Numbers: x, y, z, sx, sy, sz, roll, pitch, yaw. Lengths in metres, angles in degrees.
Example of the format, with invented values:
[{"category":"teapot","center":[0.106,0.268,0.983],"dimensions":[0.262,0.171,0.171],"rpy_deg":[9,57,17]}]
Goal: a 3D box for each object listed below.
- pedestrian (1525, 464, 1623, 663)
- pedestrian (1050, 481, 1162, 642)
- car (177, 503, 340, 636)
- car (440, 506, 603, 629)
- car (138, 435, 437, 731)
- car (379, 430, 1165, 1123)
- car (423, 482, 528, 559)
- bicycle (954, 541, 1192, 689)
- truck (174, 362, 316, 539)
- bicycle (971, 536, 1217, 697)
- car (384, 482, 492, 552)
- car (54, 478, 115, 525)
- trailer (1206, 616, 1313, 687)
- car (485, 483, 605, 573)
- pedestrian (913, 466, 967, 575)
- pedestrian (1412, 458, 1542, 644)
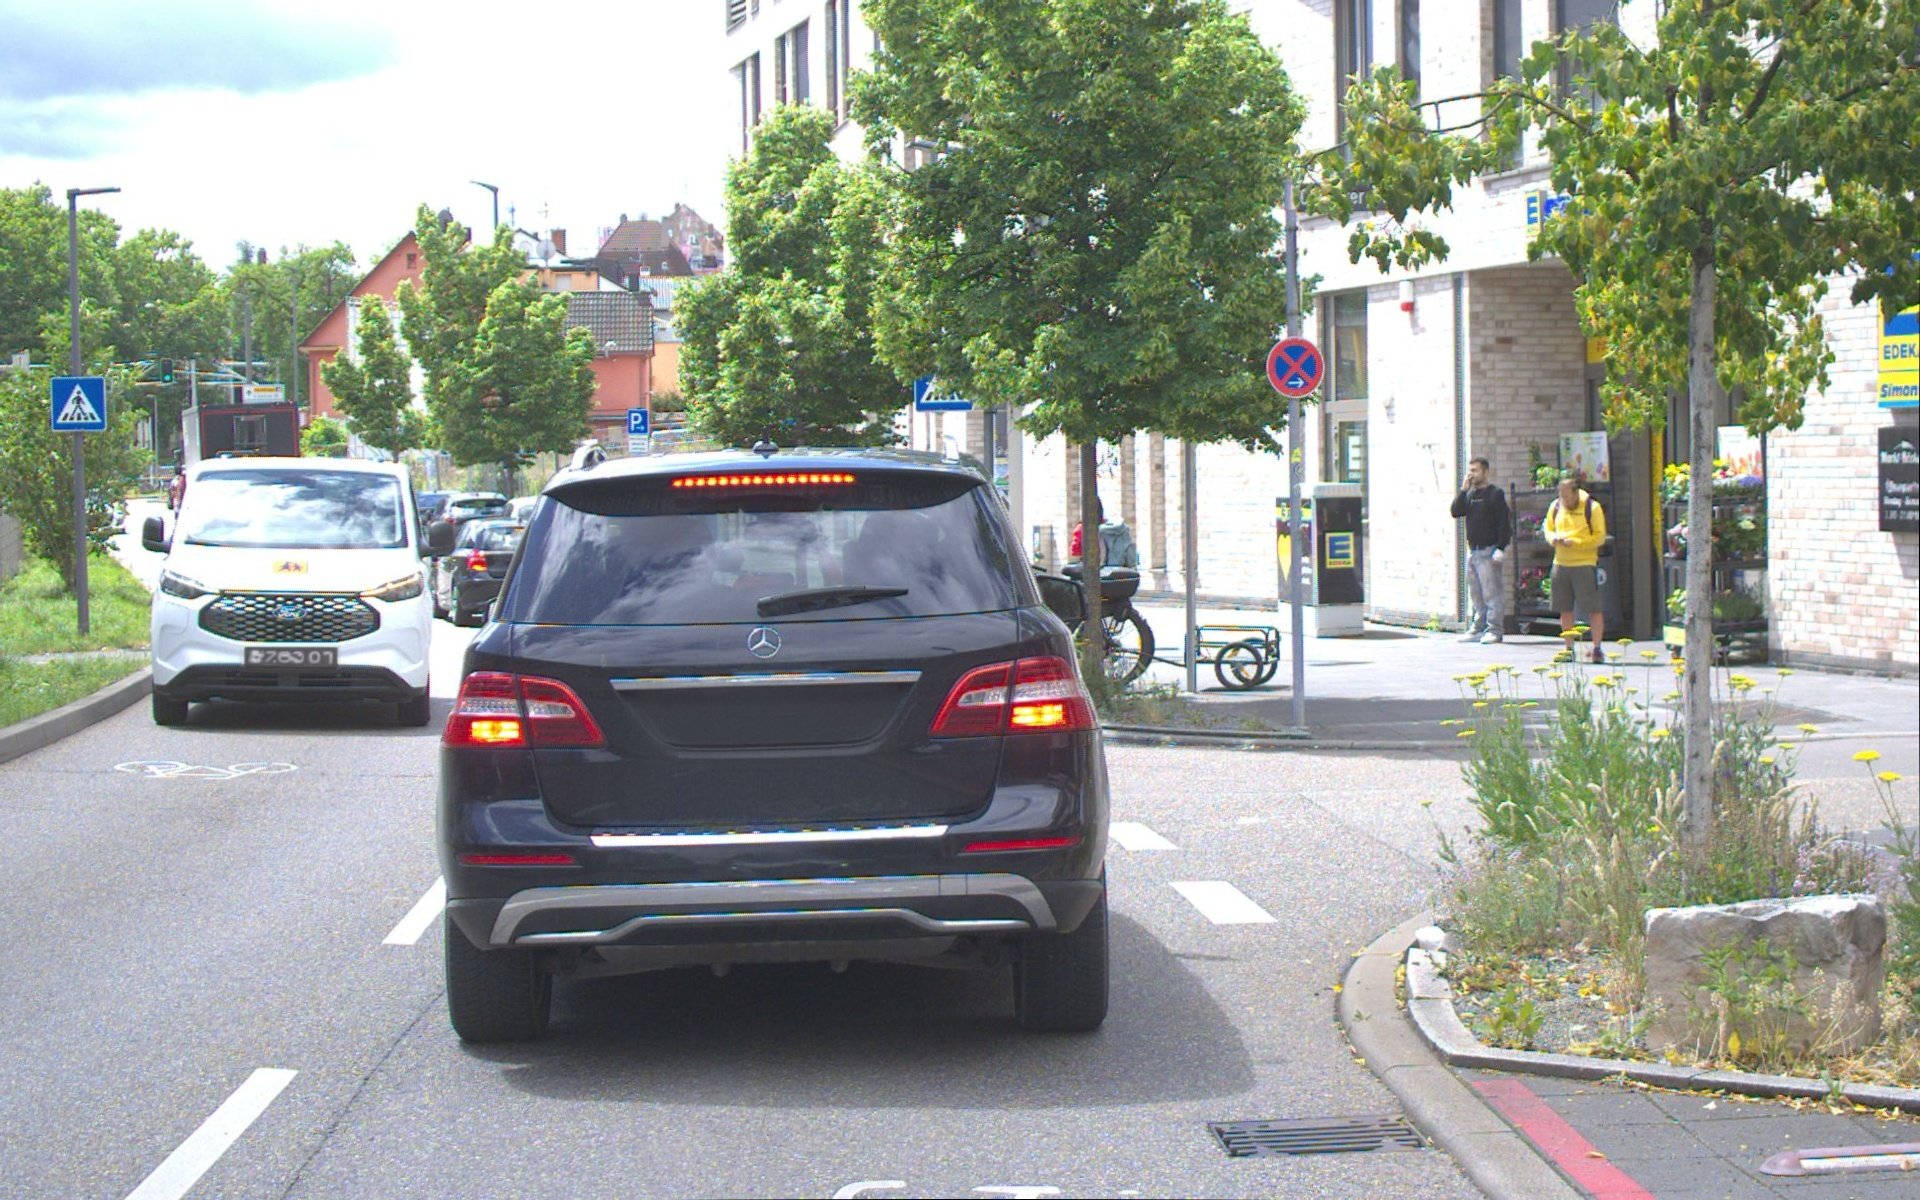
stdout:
[{"category":"pedestrian","center":[5.295,-0.317,29.656],"dimensions":[0.658,1.686,0.631],"rpy_deg":[-1,2,26]},{"category":"pedestrian","center":[1.437,-0.380,33.954],"dimensions":[0.812,1.560,0.930],"rpy_deg":[0,0,-20]},{"category":"car","center":[-8.232,-0.401,40.262],"dimensions":[1.772,1.459,4.236],"rpy_deg":[0,2,-12]},{"category":"car","center":[-5.925,-0.474,46.118],"dimensions":[1.726,1.451,3.810],"rpy_deg":[-2,3,-13]},{"category":"car","center":[-5.042,-0.181,26.283],"dimensions":[1.993,2.007,5.396],"rpy_deg":[1,1,-9]},{"category":"car","center":[-0.512,0.386,11.295],"dimensions":[1.993,1.740,4.533],"rpy_deg":[-2,2,0]},{"category":"car","center":[-10.058,-1.669,71.196],"dimensions":[1.692,1.456,4.148],"rpy_deg":[-3,3,-13]},{"category":"bicycle","center":[0.926,0.111,28.344],"dimensions":[1.822,1.127,0.756],"rpy_deg":[-2,1,-8]},{"category":"truck","center":[-19.392,-3.913,92.876],"dimensions":[3.202,4.520,9.031],"rpy_deg":[0,1,-15]},{"category":"bicycle","center":[1.061,0.122,27.523],"dimensions":[1.822,1.196,0.756],"rpy_deg":[-2,1,-8]},{"category":"car","center":[-11.819,-1.900,77.622],"dimensions":[1.864,1.446,4.645],"rpy_deg":[-3,3,-15]},{"category":"car","center":[-27.527,-3.111,108.133],"dimensions":[1.811,1.464,3.909],"rpy_deg":[0,2,-14]},{"category":"trailer","center":[2.390,0.411,27.498],"dimensions":[0.719,0.526,0.812],"rpy_deg":[-1,1,-4]},{"category":"car","center":[-7.542,-1.325,62.183],"dimensions":[1.692,1.478,3.799],"rpy_deg":[-3,3,-13]},{"category":"pedestrian","center":[-0.279,-1.112,47.721],"dimensions":[0.607,1.467,0.791],"rpy_deg":[-2,3,-7]},{"category":"pedestrian","center":[4.965,-0.477,33.035],"dimensions":[1.014,1.735,0.660],"rpy_deg":[-2,2,-18]}]
